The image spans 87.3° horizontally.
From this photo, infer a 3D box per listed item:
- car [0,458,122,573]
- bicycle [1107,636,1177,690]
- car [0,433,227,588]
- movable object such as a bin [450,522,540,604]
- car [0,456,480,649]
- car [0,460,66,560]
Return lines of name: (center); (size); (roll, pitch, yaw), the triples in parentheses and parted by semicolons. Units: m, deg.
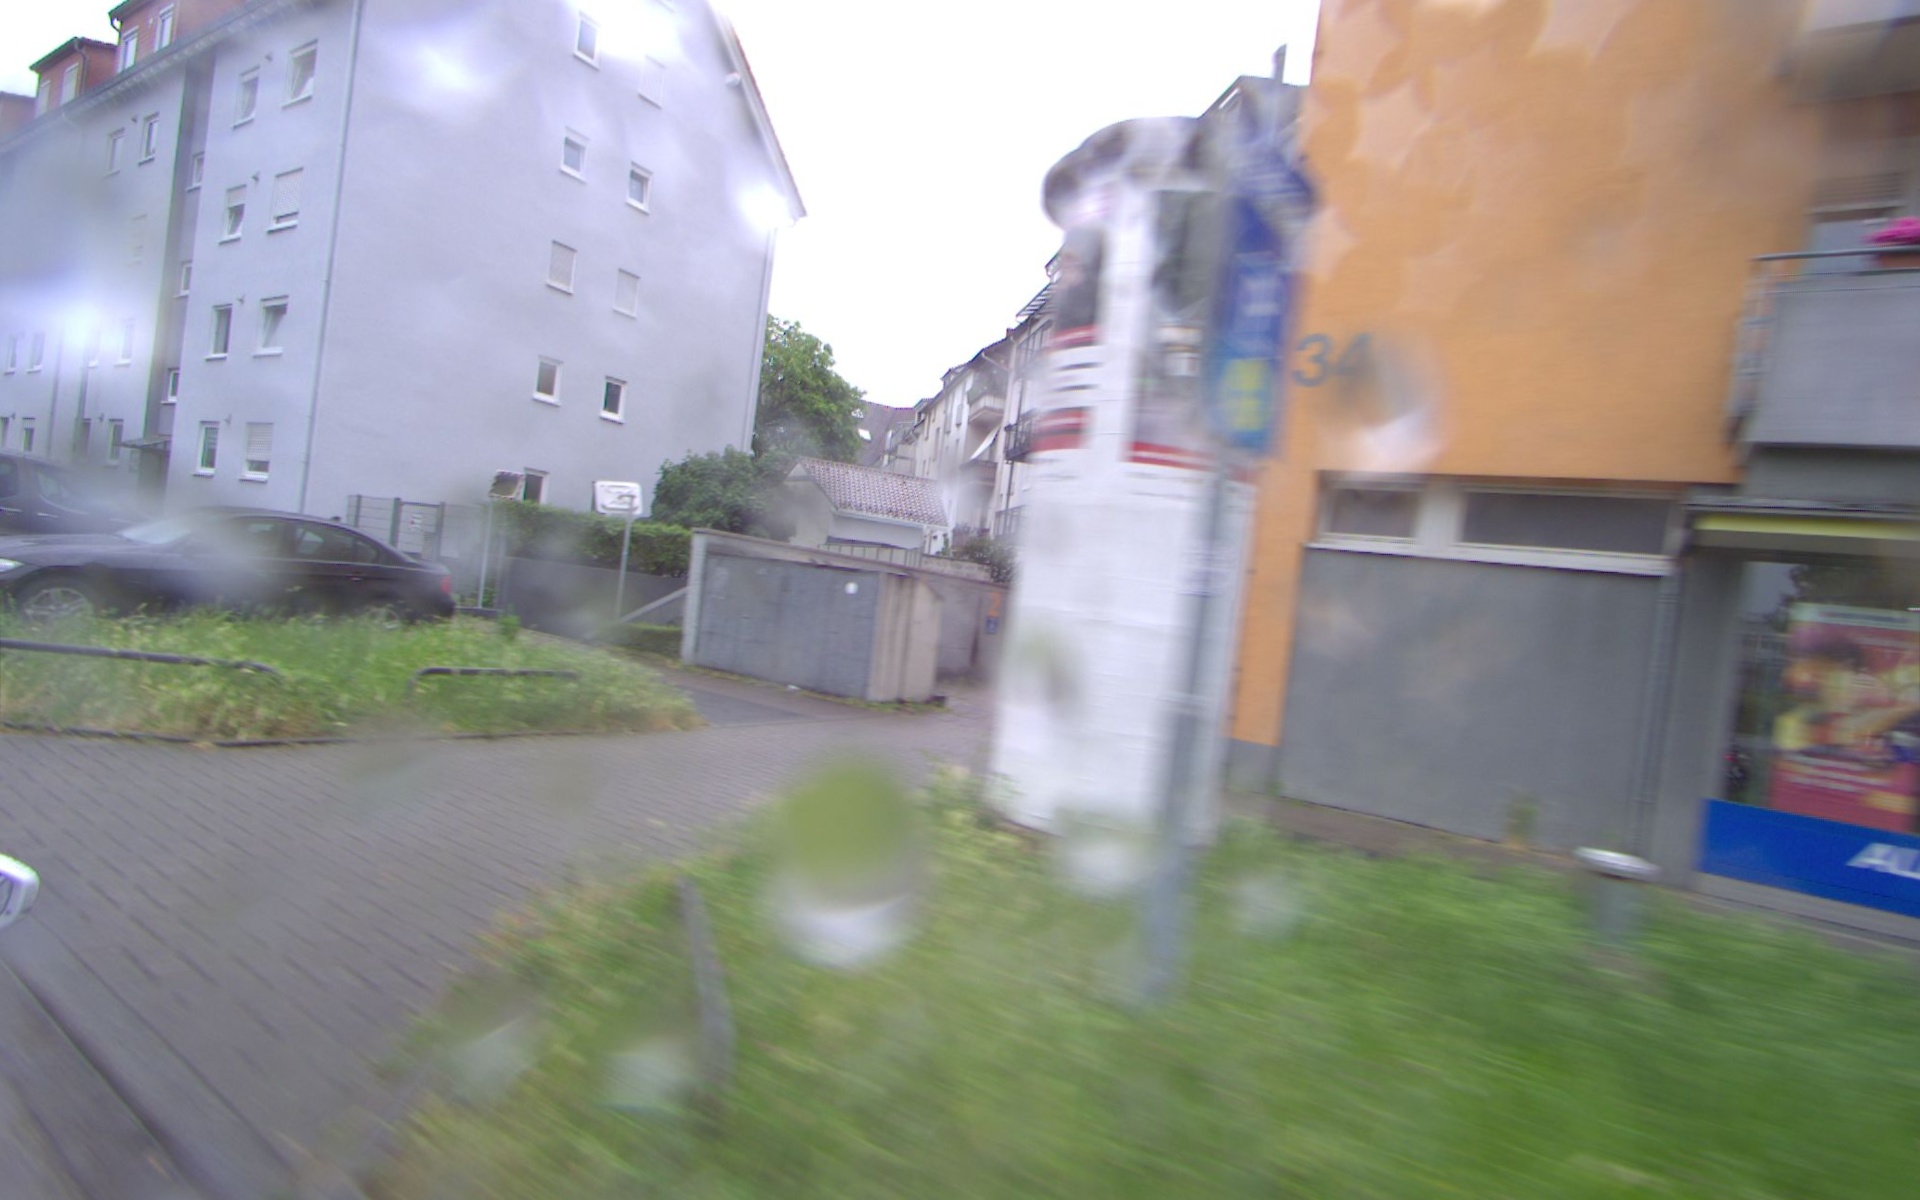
car: (-15.500, -1.483, 14.977); (1.858, 1.587, 4.194); (8, 0, 32)
bicycle: (4.324, 1.493, 24.064); (0.636, 1.018, 2.103); (8, 0, -18)
car: (-13.130, -1.337, 14.000); (1.912, 1.827, 4.237); (8, 0, 31)
movable object such as a bin: (-9.072, -0.709, 19.648); (0.810, 1.394, 1.234); (9, 1, 41)
car: (-7.831, -0.424, 10.627); (1.951, 1.488, 4.536); (7, 0, 34)
car: (-17.645, -1.780, 16.364); (1.859, 1.590, 4.187); (8, -1, 33)
